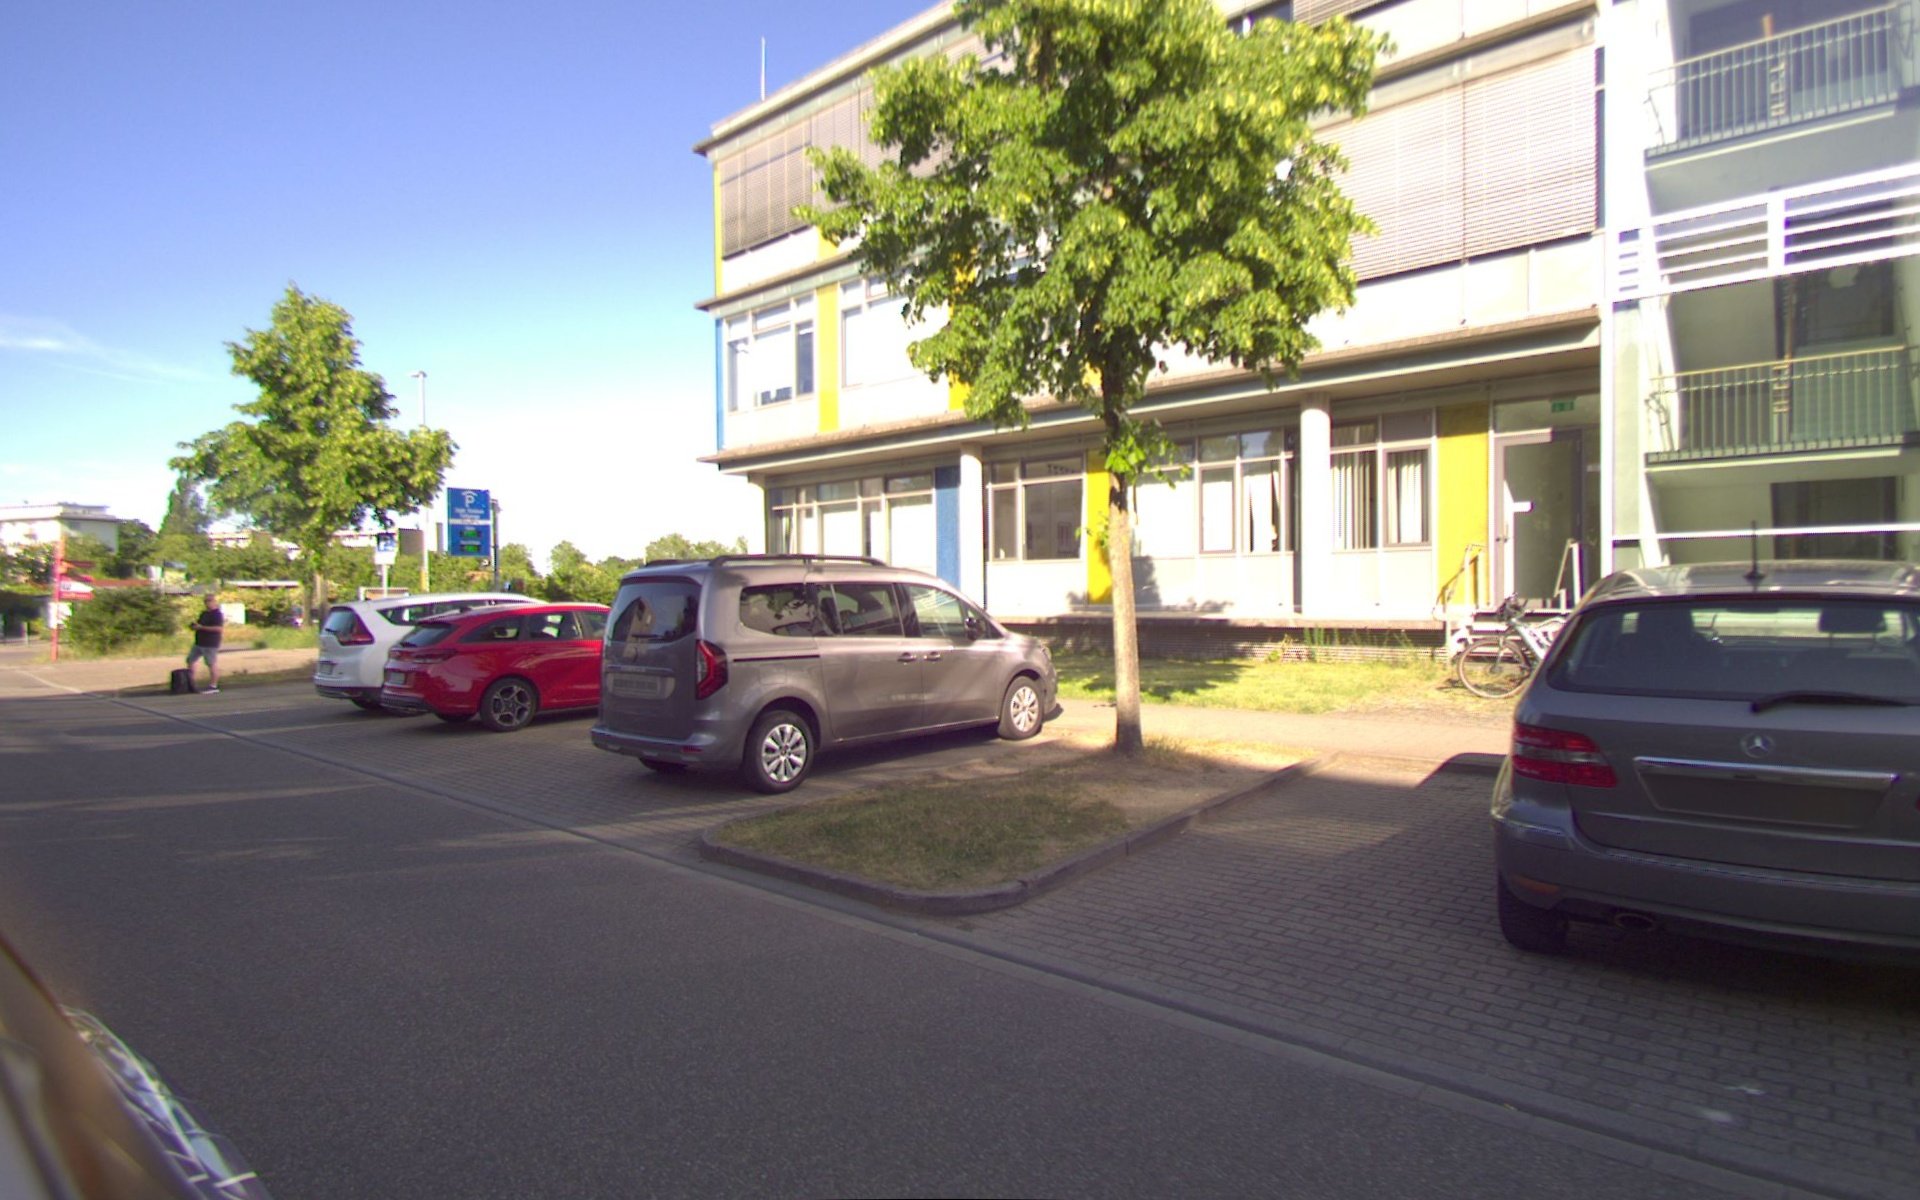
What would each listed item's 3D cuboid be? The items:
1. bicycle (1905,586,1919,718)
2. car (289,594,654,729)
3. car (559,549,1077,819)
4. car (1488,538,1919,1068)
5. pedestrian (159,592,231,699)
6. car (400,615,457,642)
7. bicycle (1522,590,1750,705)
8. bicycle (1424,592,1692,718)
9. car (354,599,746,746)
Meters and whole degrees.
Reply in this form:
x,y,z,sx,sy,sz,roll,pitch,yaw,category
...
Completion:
x,y,z,sx,sy,sz,roll,pitch,yaw,category
9.234,0.429,8.466,1.890,1.120,0.882,-2,1,45,bicycle
-7.121,0.771,15.121,1.868,1.663,4.560,0,1,44,car
-1.023,0.503,9.423,1.827,1.879,4.693,0,2,41,car
3.921,0.553,4.791,1.869,1.619,3.950,-1,1,37,car
-14.019,0.807,18.542,0.825,1.856,0.848,-1,2,43,pedestrian
-25.331,1.333,48.182,1.488,1.160,3.850,-1,0,-43,car
7.656,0.481,11.535,0.858,1.162,1.996,-3,2,-39,bicycle
6.326,0.514,10.891,0.857,1.162,2.380,-2,2,-28,bicycle
-5.144,0.788,13.184,1.827,1.512,4.387,0,1,41,car
